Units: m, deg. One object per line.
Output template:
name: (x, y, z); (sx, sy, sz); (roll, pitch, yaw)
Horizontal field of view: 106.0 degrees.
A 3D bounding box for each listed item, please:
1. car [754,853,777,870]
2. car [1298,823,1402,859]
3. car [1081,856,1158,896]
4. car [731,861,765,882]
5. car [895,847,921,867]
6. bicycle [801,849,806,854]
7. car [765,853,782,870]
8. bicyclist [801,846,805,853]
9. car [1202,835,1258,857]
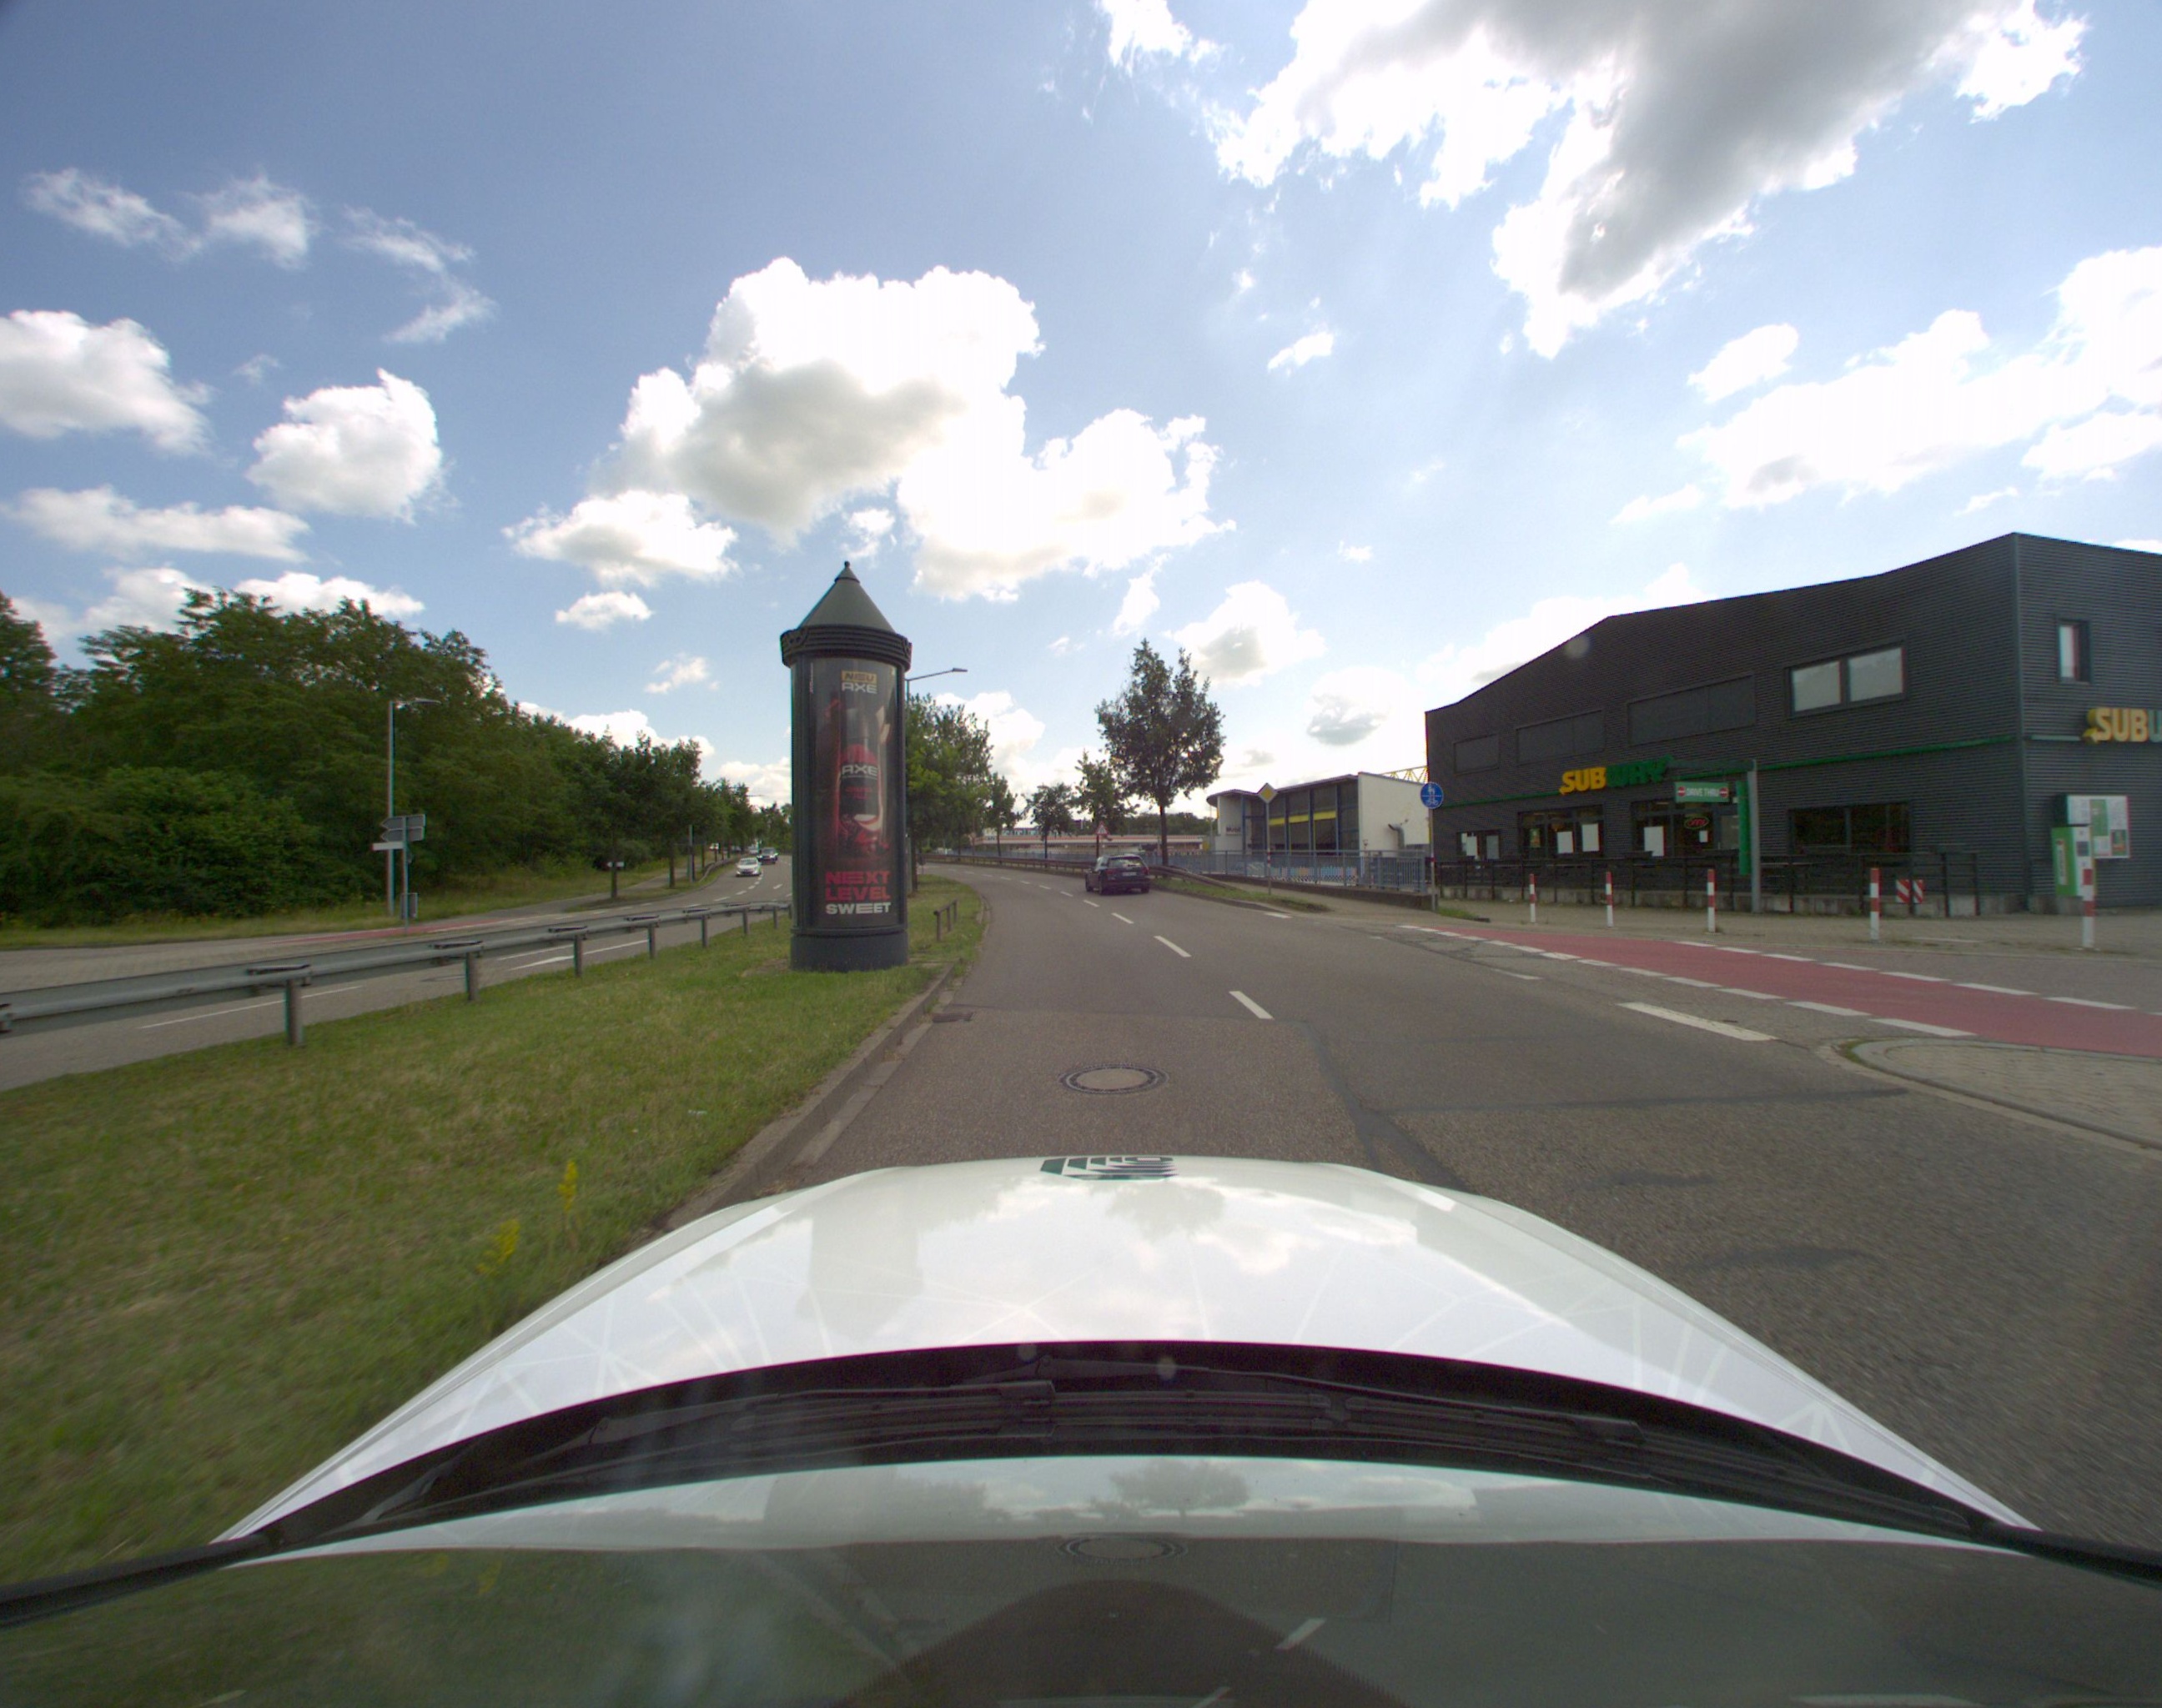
car: (-36.053, 0.841, 93.017); (2.004, 1.861, 4.673); (-1, 0, -27)
car: (16.367, -0.775, 49.660); (5.817, 2.014, 2.219); (-1, -1, -18)
car: (1.341, 0.761, 30.417); (1.993, 1.390, 4.561); (0, 0, -9)
car: (-27.500, 1.412, 67.388); (1.997, 1.532, 4.309); (-3, 0, -15)
car: (-18.271, 0.339, 85.849); (2.001, 2.037, 4.678); (-1, -1, -22)
bicycle: (-47.810, -0.451, 140.205); (0.545, 0.866, 1.733); (1, -1, -29)
car: (-40.406, 0.981, 107.066); (2.001, 2.013, 4.784); (-1, 2, -21)
bicyclist: (-47.963, -0.797, 140.314); (0.477, 1.168, 0.819); (-2, -1, -30)
car: (9.762, -0.524, 53.729); (1.995, 1.359, 4.729); (-2, 0, -13)
